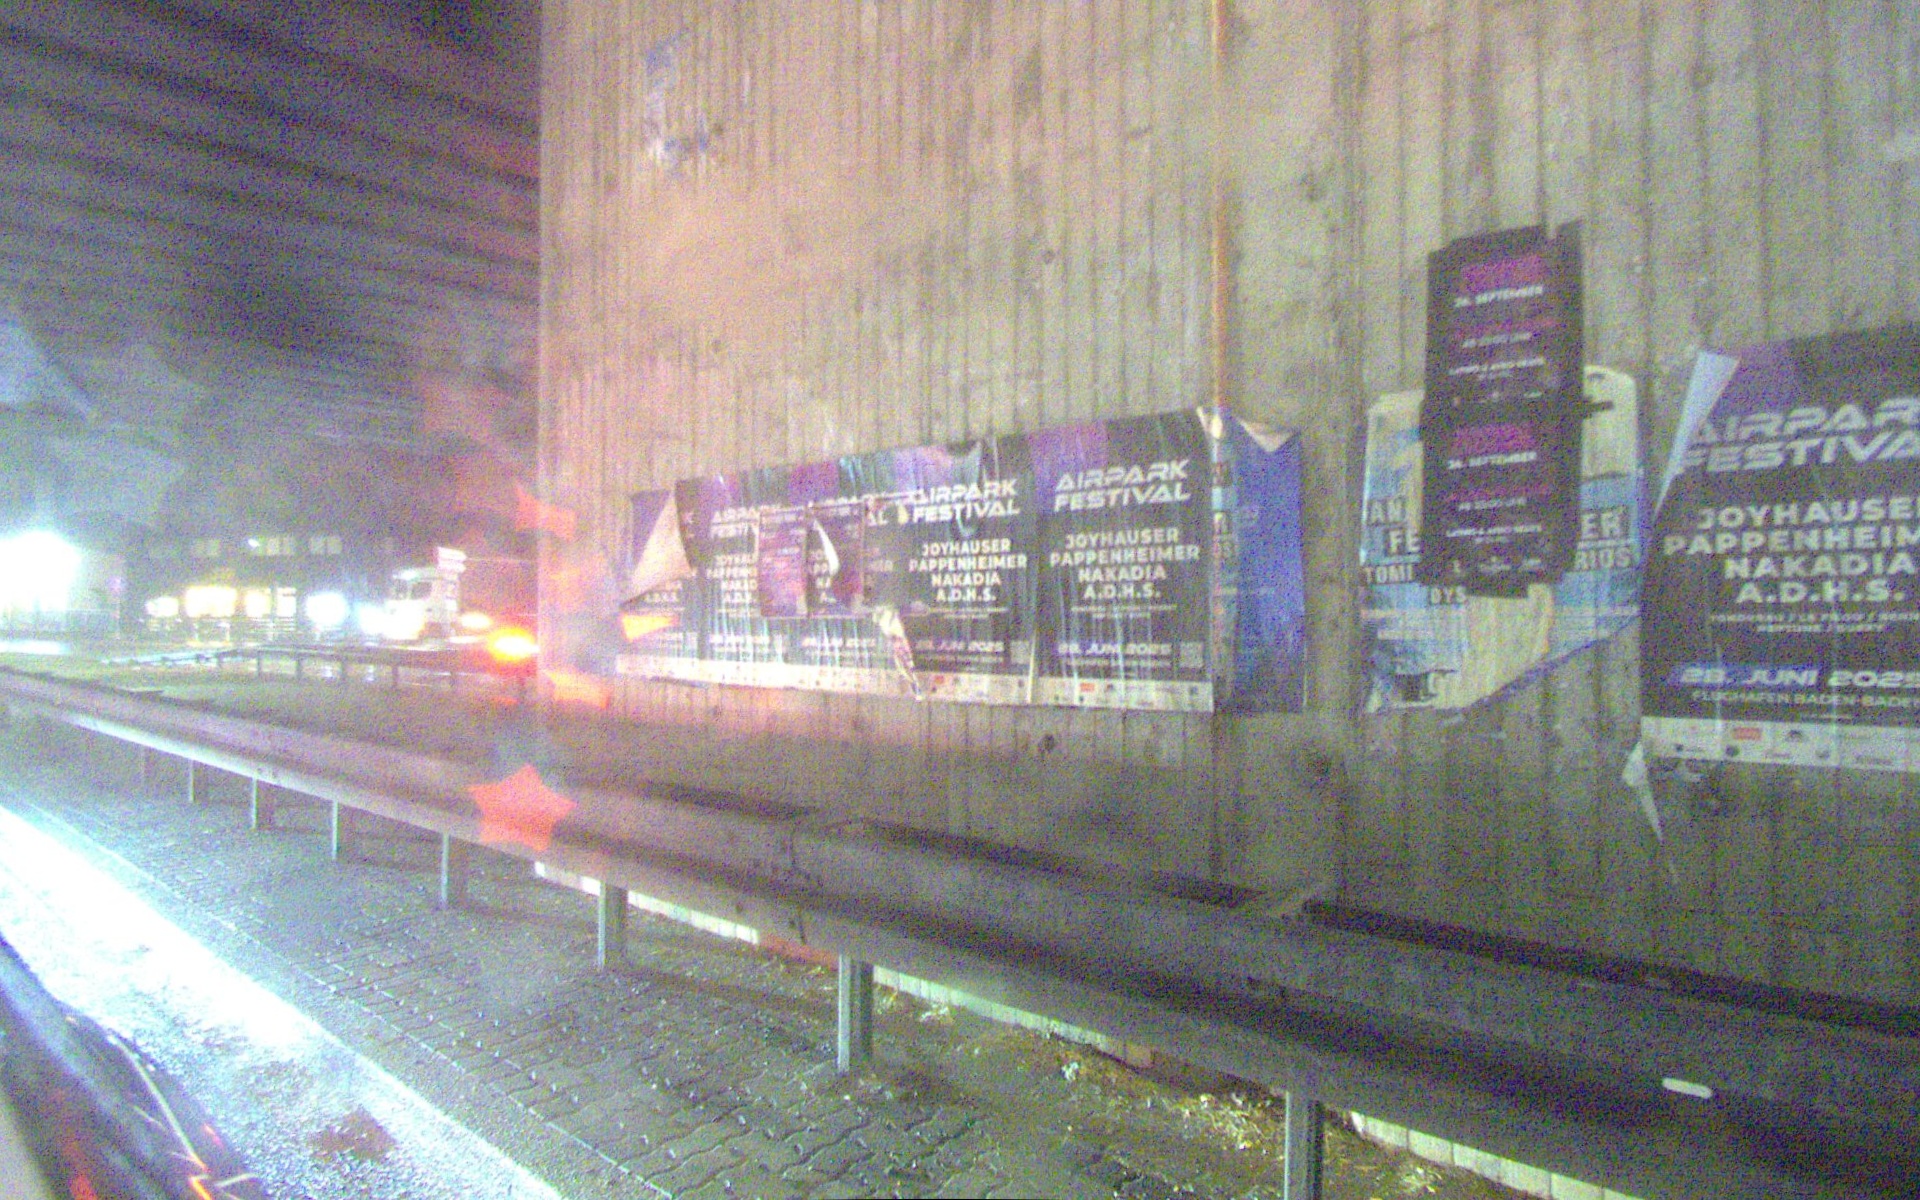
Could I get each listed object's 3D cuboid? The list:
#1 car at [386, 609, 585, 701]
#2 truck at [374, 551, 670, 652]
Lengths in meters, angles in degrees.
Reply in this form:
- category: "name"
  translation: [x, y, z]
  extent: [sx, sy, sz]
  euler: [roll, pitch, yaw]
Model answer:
- category: "car"
  translation: [-9.899, 1.073, 20.993]
  extent: [4.488, 1.722, 1.734]
  euler: [0, -2, 35]
- category: "truck"
  translation: [-21.430, 0.085, 50.729]
  extent: [13.480, 4.474, 2.746]
  euler: [0, -1, -43]
